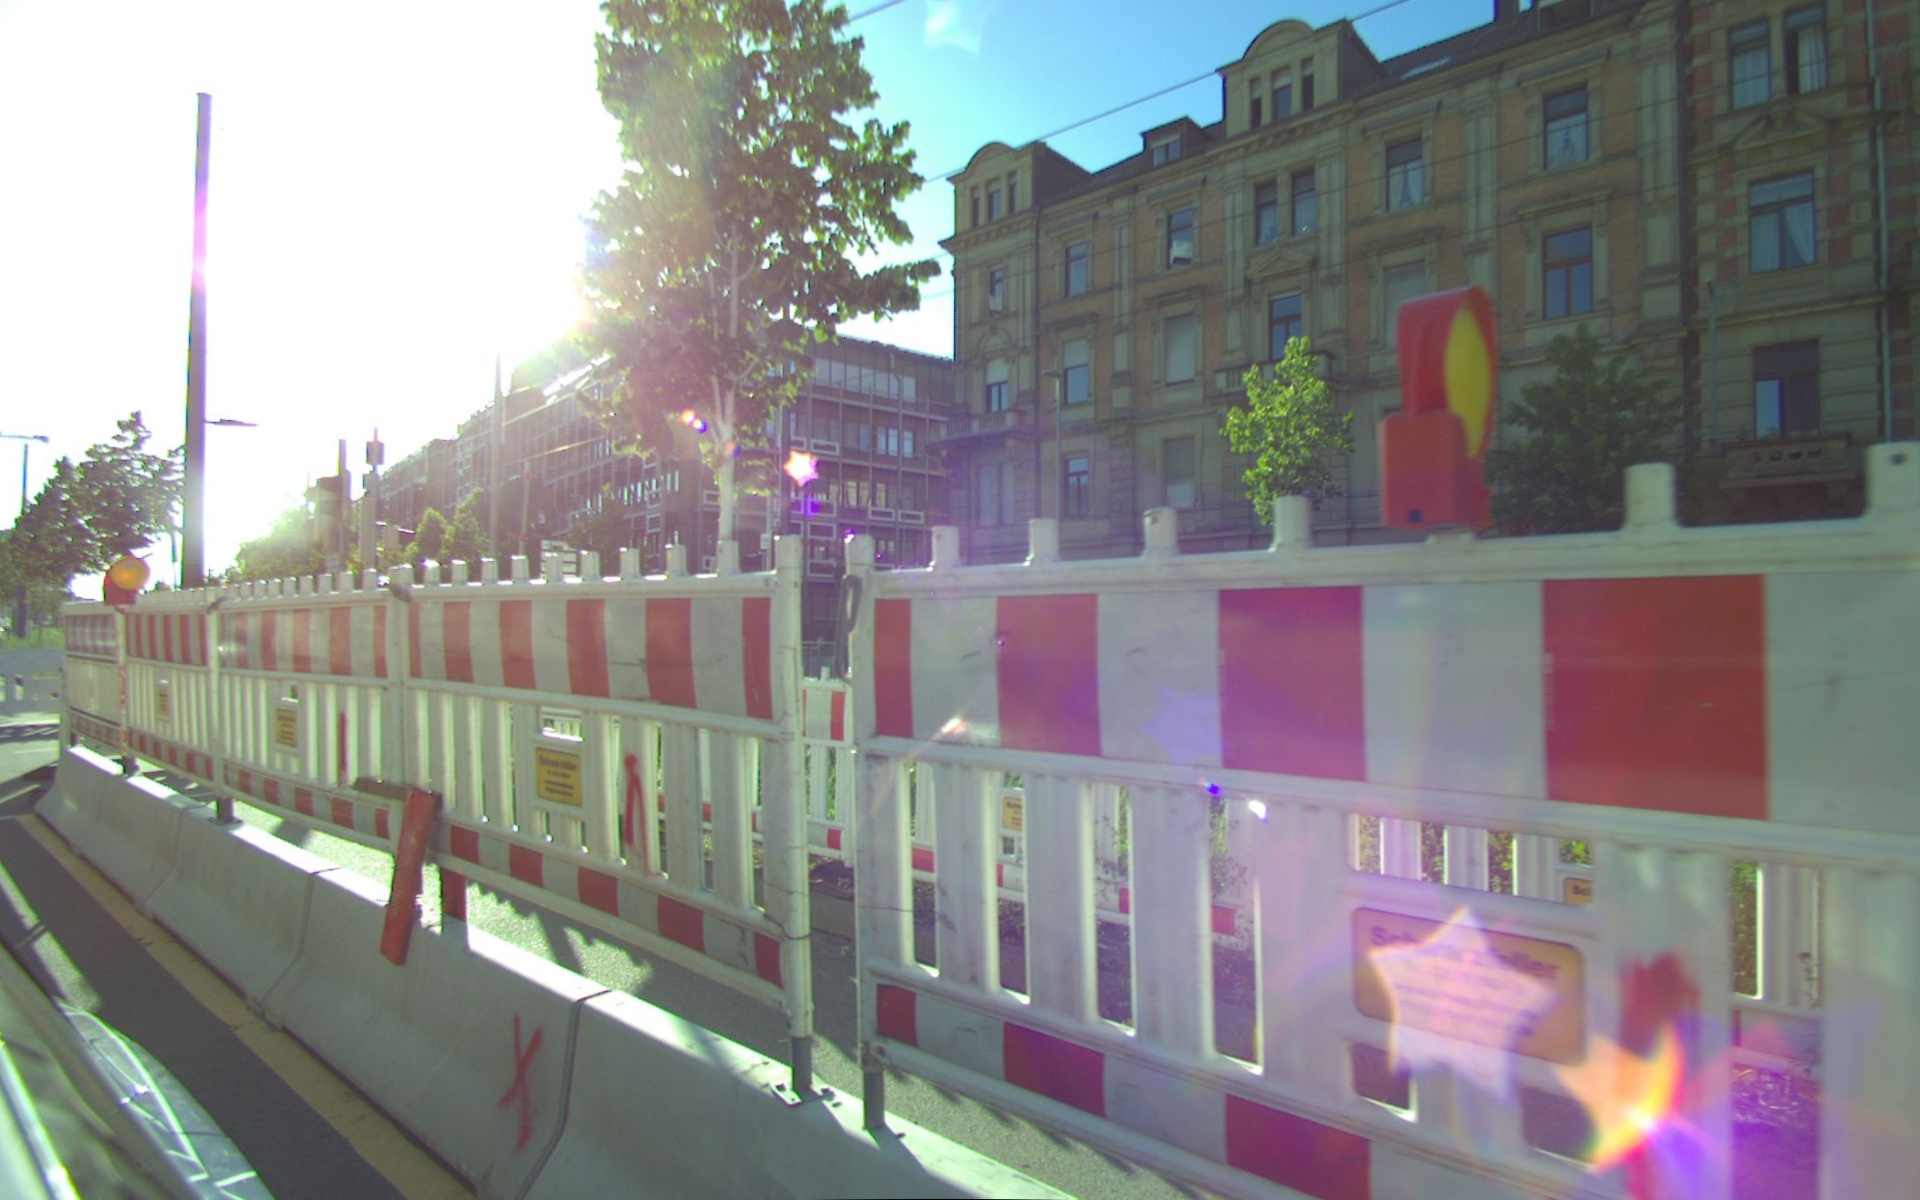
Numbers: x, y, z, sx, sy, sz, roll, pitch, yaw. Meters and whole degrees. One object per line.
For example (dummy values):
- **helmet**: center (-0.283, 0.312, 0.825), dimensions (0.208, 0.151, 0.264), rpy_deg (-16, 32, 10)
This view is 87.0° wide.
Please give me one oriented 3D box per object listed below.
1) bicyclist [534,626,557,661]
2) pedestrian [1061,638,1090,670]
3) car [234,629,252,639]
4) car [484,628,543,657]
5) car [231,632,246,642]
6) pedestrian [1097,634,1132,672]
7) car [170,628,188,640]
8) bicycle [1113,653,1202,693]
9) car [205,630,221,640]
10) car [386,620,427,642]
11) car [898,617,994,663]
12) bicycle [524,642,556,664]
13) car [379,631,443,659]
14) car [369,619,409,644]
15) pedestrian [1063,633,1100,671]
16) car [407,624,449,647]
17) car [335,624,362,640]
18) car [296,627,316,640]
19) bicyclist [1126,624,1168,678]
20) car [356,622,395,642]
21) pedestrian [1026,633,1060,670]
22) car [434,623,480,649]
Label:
- **bicyclist**: center (-19.717, 2.053, 48.091), dimensions (0.882, 1.670, 0.687), rpy_deg (-1, -2, 42)
- **pedestrian**: center (3.988, 1.849, 34.976), dimensions (0.736, 1.067, 0.682), rpy_deg (-1, -2, 42)
- **car**: center (-104.193, 4.968, 147.066), dimensions (1.694, 1.398, 4.046), rpy_deg (1, -2, -40)
- **car**: center (-24.878, 2.335, 56.306), dimensions (3.902, 1.472, 1.710), rpy_deg (-2, -1, 45)
- **car**: center (-110.275, 5.627, 154.676), dimensions (1.607, 1.507, 4.424), rpy_deg (2, -3, -39)
- **pedestrian**: center (5.057, 1.741, 33.173), dimensions (0.929, 1.217, 0.682), rpy_deg (-1, -2, 42)
- **car**: center (-113.518, 4.905, 147.011), dimensions (1.707, 1.760, 4.125), rpy_deg (1, -2, -43)
- **bicycle**: center (4.622, 1.699, 23.763), dimensions (2.031, 0.864, 0.630), rpy_deg (-2, -2, 43)
- **car**: center (-112.673, 5.278, 152.579), dimensions (1.607, 1.507, 3.785), rpy_deg (2, -3, -41)
- **car**: center (-38.806, 2.174, 70.887), dimensions (1.716, 1.548, 3.890), rpy_deg (1, -2, -41)
- **car**: center (-0.568, 1.750, 44.393), dimensions (1.895, 1.918, 4.468), rpy_deg (-1, -3, 37)
- **bicycle**: center (-19.951, 2.500, 48.014), dimensions (1.827, 0.985, 0.687), rpy_deg (-1, -2, 42)
- **car**: center (-29.756, 2.409, 54.840), dimensions (4.069, 1.431, 1.833), rpy_deg (-2, -1, 42)
- **car**: center (-42.036, 2.332, 74.429), dimensions (1.729, 1.785, 4.337), rpy_deg (0, -2, -41)
- **pedestrian**: center (4.017, 1.711, 33.541), dimensions (0.929, 1.217, 0.782), rpy_deg (-1, -2, 42)
- **car**: center (-35.115, 2.309, 66.749), dimensions (1.604, 1.452, 3.824), rpy_deg (0, -1, -41)
- **car**: center (-54.722, 2.865, 90.533), dimensions (1.693, 1.397, 4.048), rpy_deg (1, -2, -37)
- **car**: center (-83.720, 4.241, 129.554), dimensions (1.701, 1.555, 3.636), rpy_deg (-1, -1, -41)
- **bicyclist**: center (4.428, 1.189, 23.957), dimensions (0.738, 1.249, 0.630), rpy_deg (-2, -2, 42)
- **car**: center (-45.549, 2.526, 78.821), dimensions (1.708, 1.480, 4.509), rpy_deg (0, -1, -42)
- **pedestrian**: center (2.866, 1.762, 34.925), dimensions (0.929, 1.256, 0.682), rpy_deg (-1, -2, 42)
- **car**: center (-31.474, 2.229, 63.306), dimensions (1.629, 1.566, 3.972), rpy_deg (1, -2, -41)
